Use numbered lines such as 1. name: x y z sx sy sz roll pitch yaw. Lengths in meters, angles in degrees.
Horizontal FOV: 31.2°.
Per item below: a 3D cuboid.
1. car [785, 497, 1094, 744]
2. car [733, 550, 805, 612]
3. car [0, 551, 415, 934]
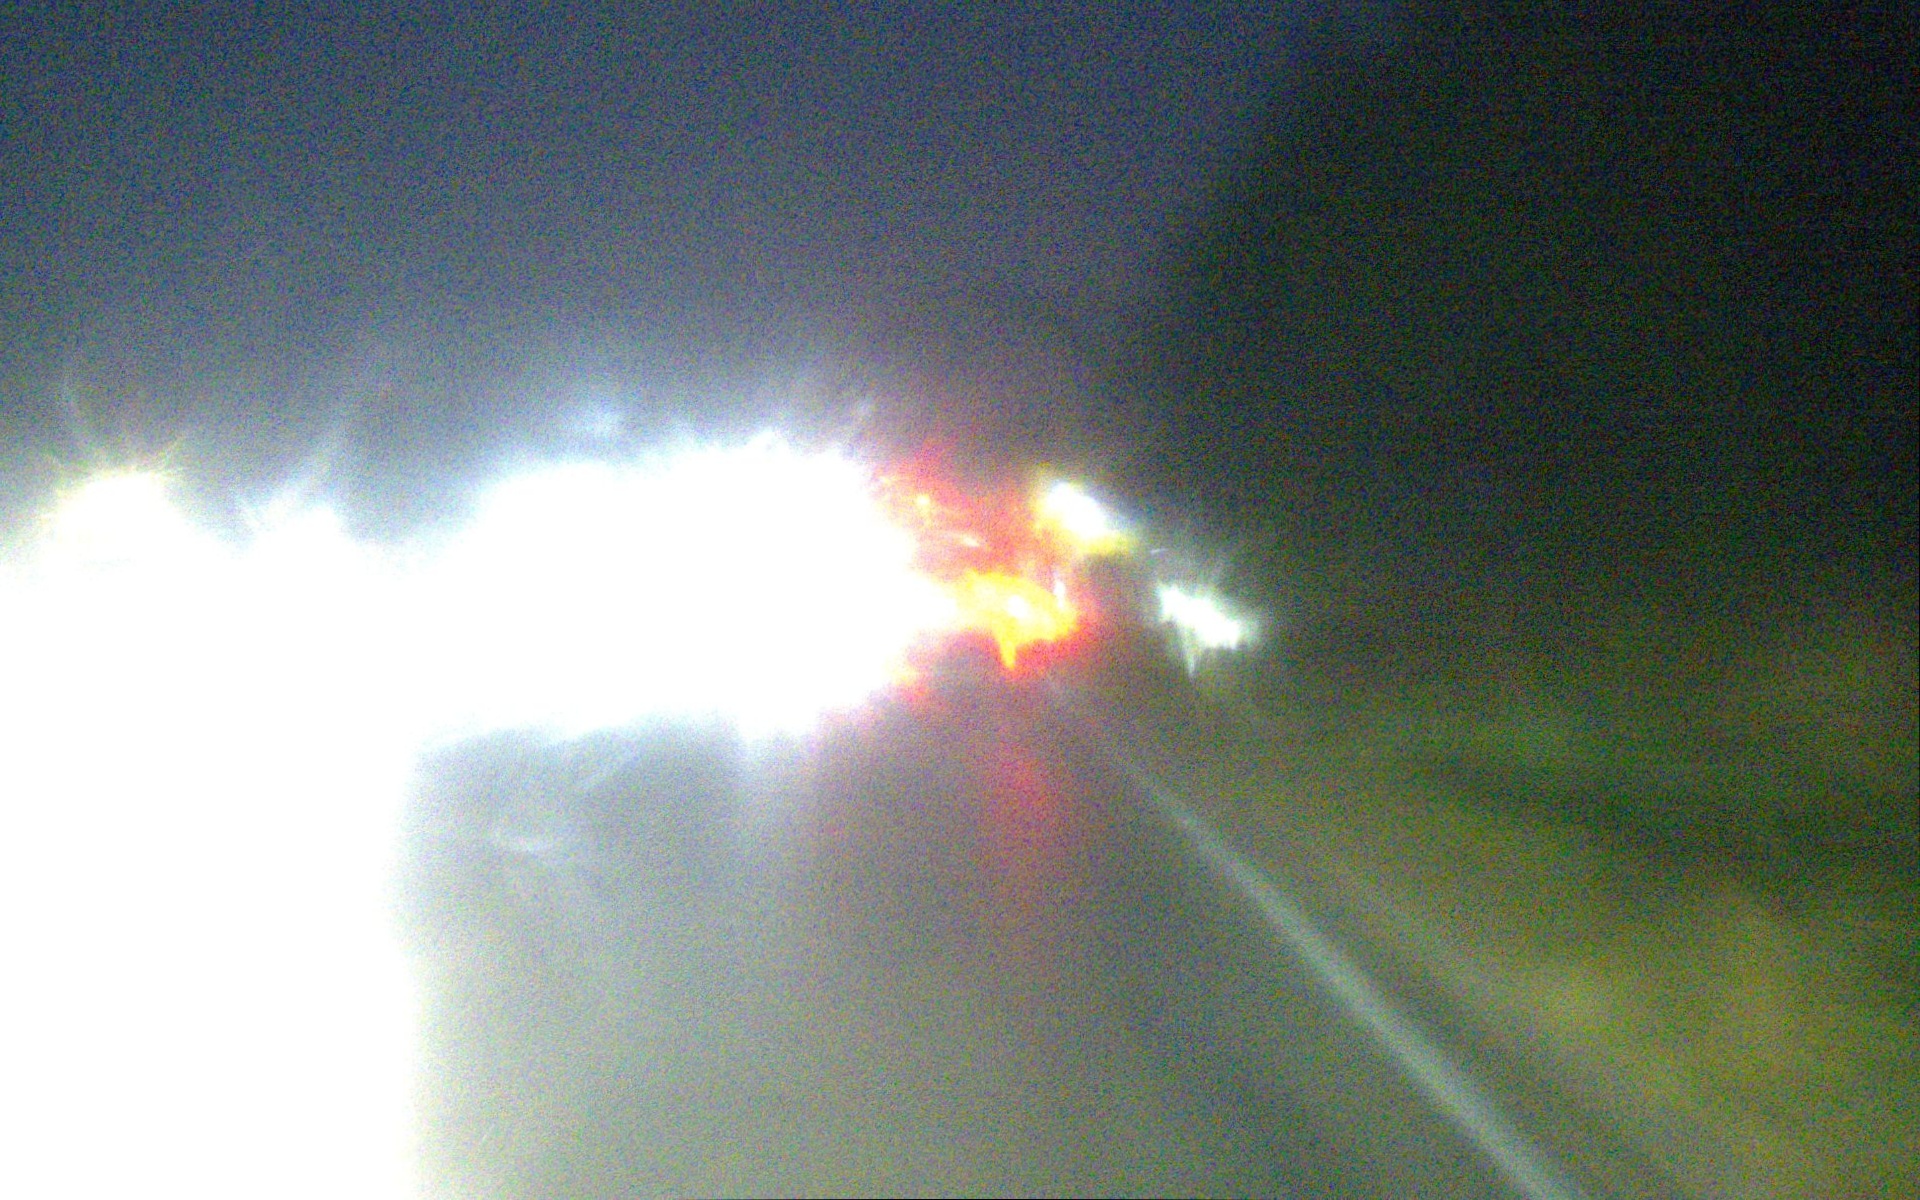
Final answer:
1. car: -0.192 0.143 30.039 2.457 1.952 4.912 1 1 -1
2. car: -5.079 -0.520 91.712 1.795 1.532 3.801 -2 1 -2
3. car: -3.826 0.567 16.363 1.765 1.514 4.490 -2 1 -1
